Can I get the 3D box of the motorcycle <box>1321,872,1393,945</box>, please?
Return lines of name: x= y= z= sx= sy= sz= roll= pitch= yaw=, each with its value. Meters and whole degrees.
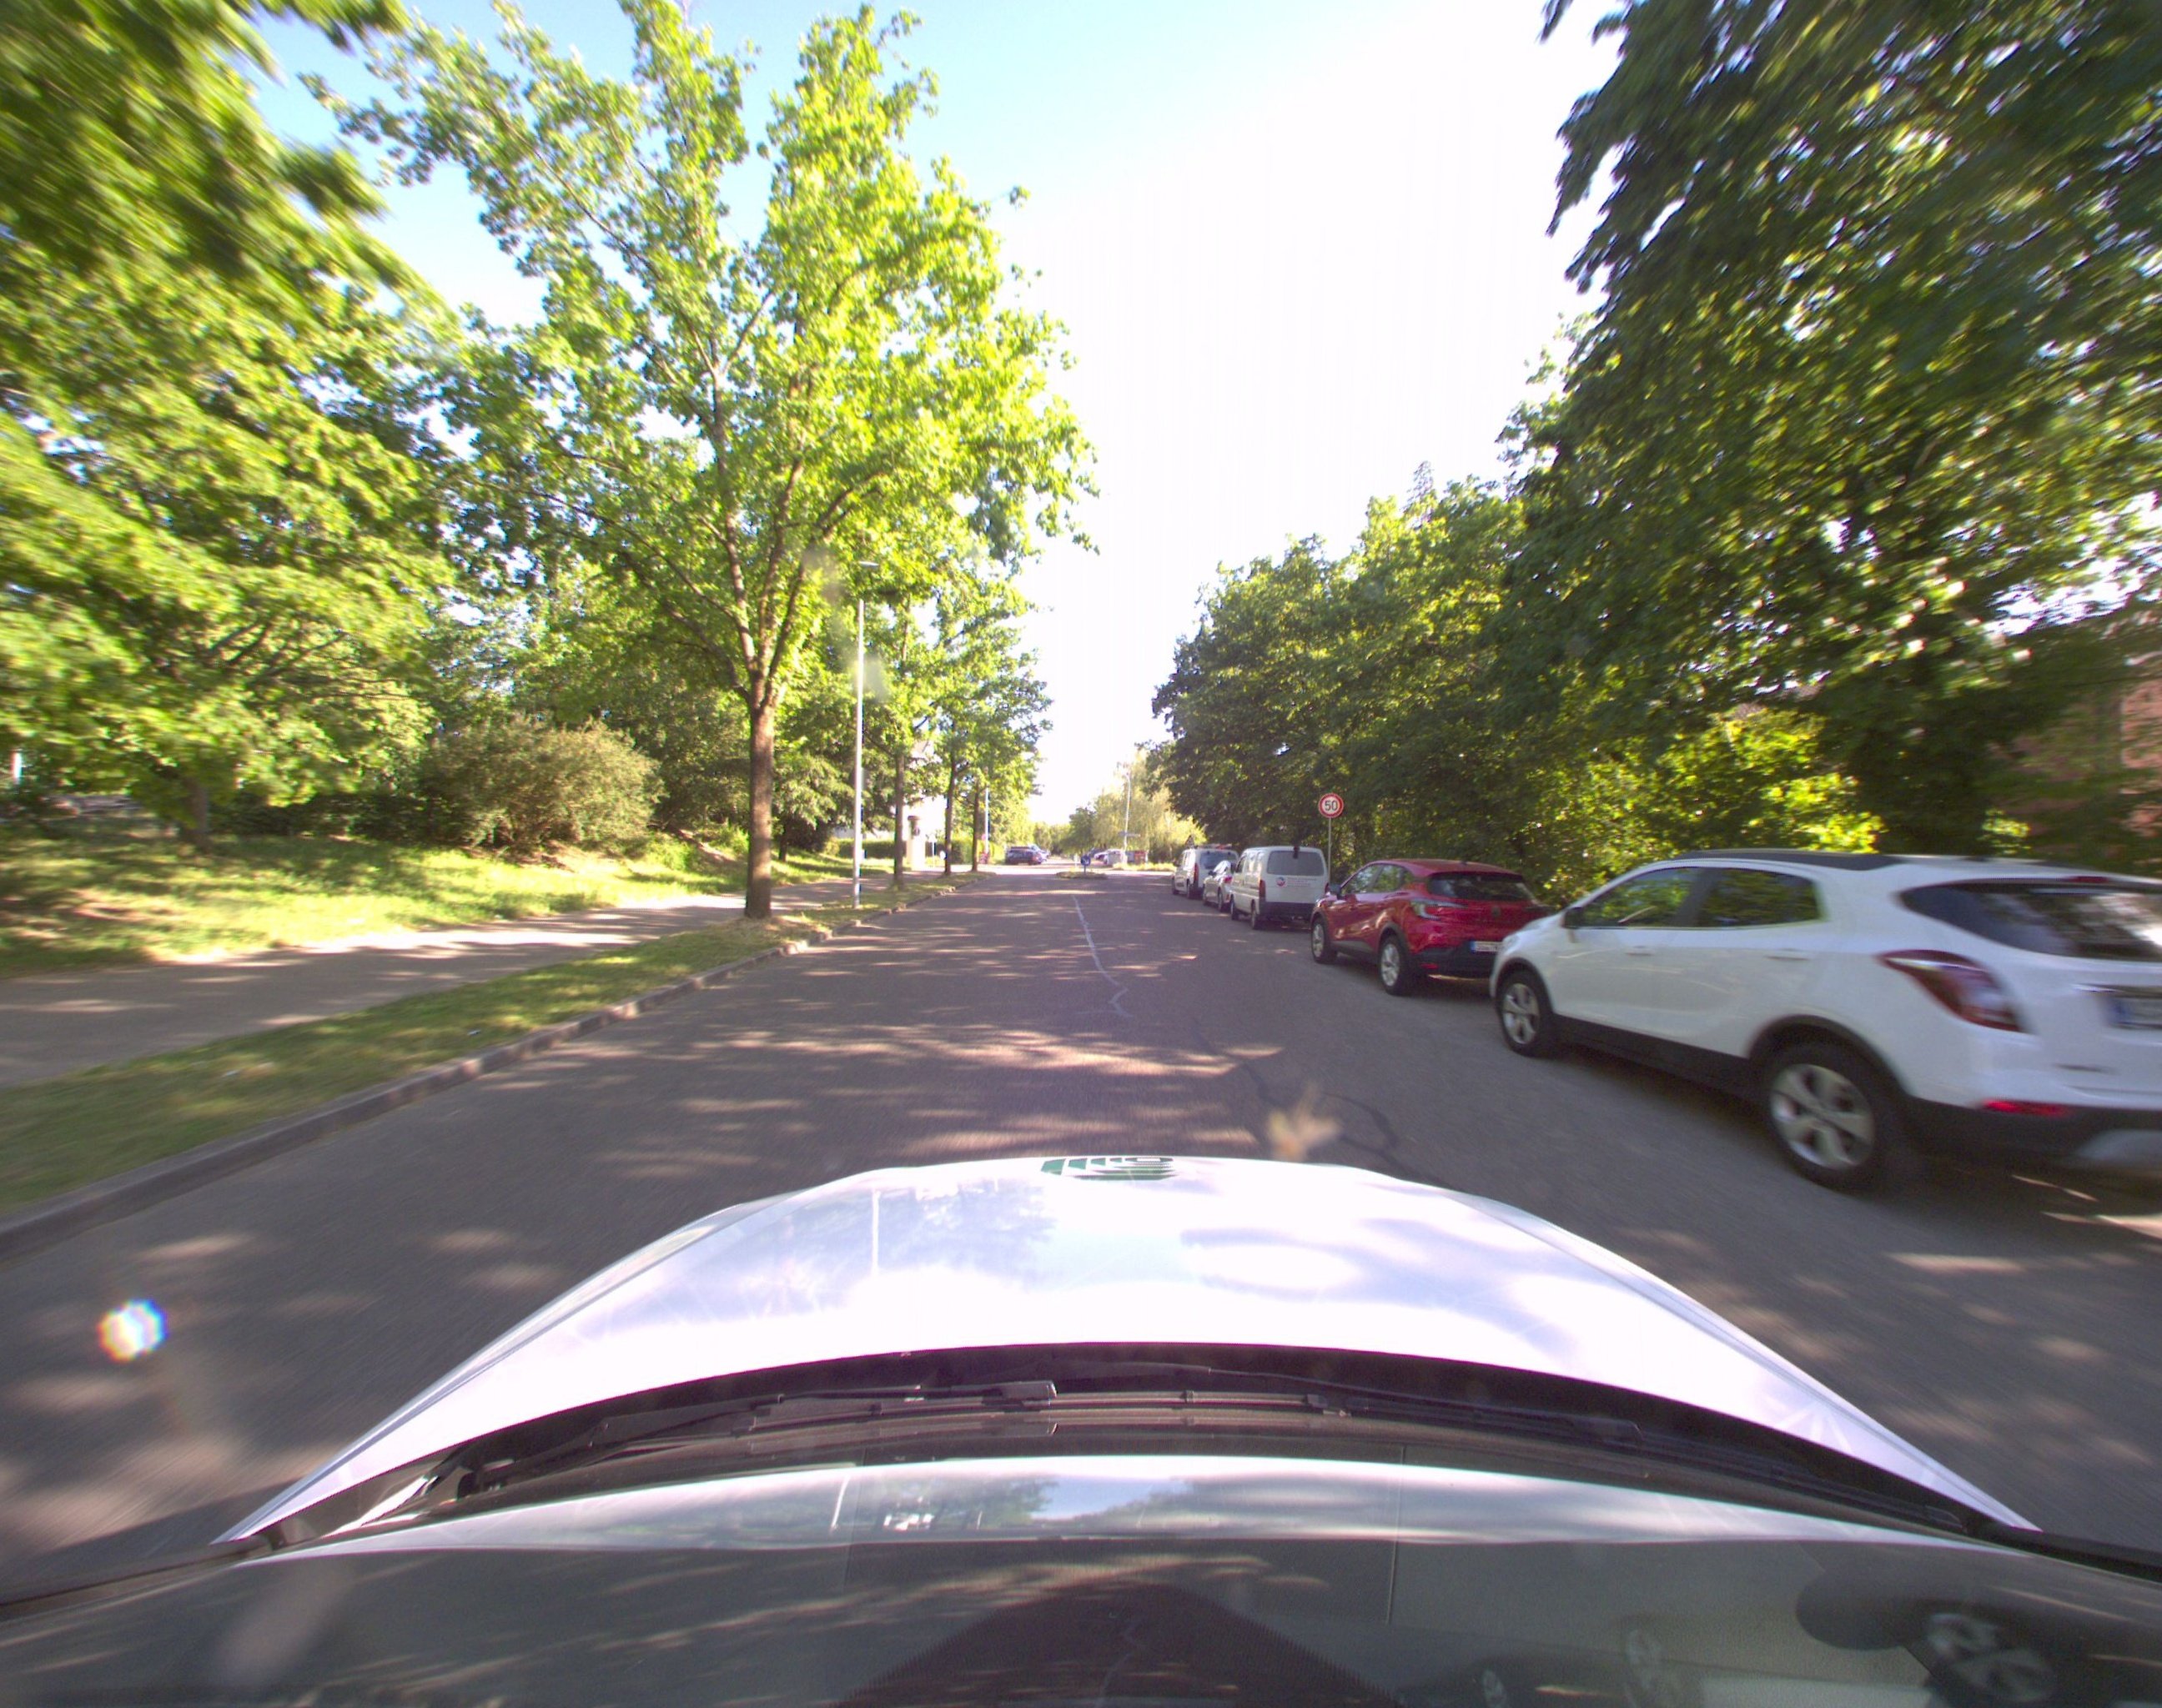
motorcycle: x=5.093 y=0.967 z=15.149 sx=0.645 sy=1.196 sz=2.035 roll=2 pitch=0 yaw=1

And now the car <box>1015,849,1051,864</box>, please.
car: x=-5.858 y=0.308 z=99.710 sx=4.092 sy=1.576 sz=1.959 roll=3 pitch=0 yaw=1

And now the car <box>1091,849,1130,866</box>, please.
car: x=2.992 y=0.327 z=81.931 sx=3.820 sy=1.576 sz=1.691 roll=3 pitch=0 yaw=5

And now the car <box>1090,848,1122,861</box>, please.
car: x=3.228 y=0.072 z=104.545 sx=3.820 sy=1.576 sz=1.691 roll=3 pitch=0 yaw=5

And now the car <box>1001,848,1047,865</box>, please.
car: x=-5.818 y=0.249 z=83.409 sx=4.297 sy=1.576 sz=2.049 roll=3 pitch=0 yaw=5

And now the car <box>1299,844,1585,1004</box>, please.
car: x=4.358 y=0.732 z=10.624 sx=1.771 sy=1.621 sz=4.061 roll=3 pitch=0 yaw=-2

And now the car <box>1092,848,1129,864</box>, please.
car: x=3.271 y=0.225 z=89.743 sx=3.820 sy=1.576 sz=1.691 roll=3 pitch=0 yaw=5

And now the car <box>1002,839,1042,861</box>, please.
car: x=-7.909 y=-0.517 z=108.604 sx=5.193 sy=2.621 sz=2.289 roll=3 pitch=0 yaw=-6

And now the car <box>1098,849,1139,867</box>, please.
car: x=3.684 y=0.412 z=79.125 sx=3.820 sy=1.576 sz=1.691 roll=3 pitch=0 yaw=5

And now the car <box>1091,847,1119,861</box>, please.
car: x=3.366 y=-0.008 z=113.880 sx=3.822 sy=1.795 sz=1.690 roll=3 pitch=0 yaw=3

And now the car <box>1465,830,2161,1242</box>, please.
car: x=4.430 y=0.746 z=5.313 sx=1.771 sy=1.621 sz=4.061 roll=3 pitch=0 yaw=-2

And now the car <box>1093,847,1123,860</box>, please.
car: x=3.603 y=-0.058 z=107.685 sx=3.822 sy=1.576 sz=1.690 roll=3 pitch=0 yaw=3

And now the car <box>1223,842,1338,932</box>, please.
car: x=4.387 y=0.668 z=18.447 sx=1.618 sy=1.773 sz=3.667 roll=3 pitch=0 yaw=-1

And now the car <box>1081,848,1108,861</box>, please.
car: x=2.008 y=0.056 z=118.781 sx=3.822 sy=1.795 sz=1.690 roll=3 pitch=0 yaw=3

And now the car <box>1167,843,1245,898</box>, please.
car: x=4.452 y=0.559 z=29.749 sx=1.787 sy=1.785 sz=4.550 roll=3 pitch=0 yaw=-4

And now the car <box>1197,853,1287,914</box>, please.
car: x=4.555 y=0.776 z=23.606 sx=1.686 sy=1.512 sz=4.205 roll=3 pitch=0 yaw=-1
